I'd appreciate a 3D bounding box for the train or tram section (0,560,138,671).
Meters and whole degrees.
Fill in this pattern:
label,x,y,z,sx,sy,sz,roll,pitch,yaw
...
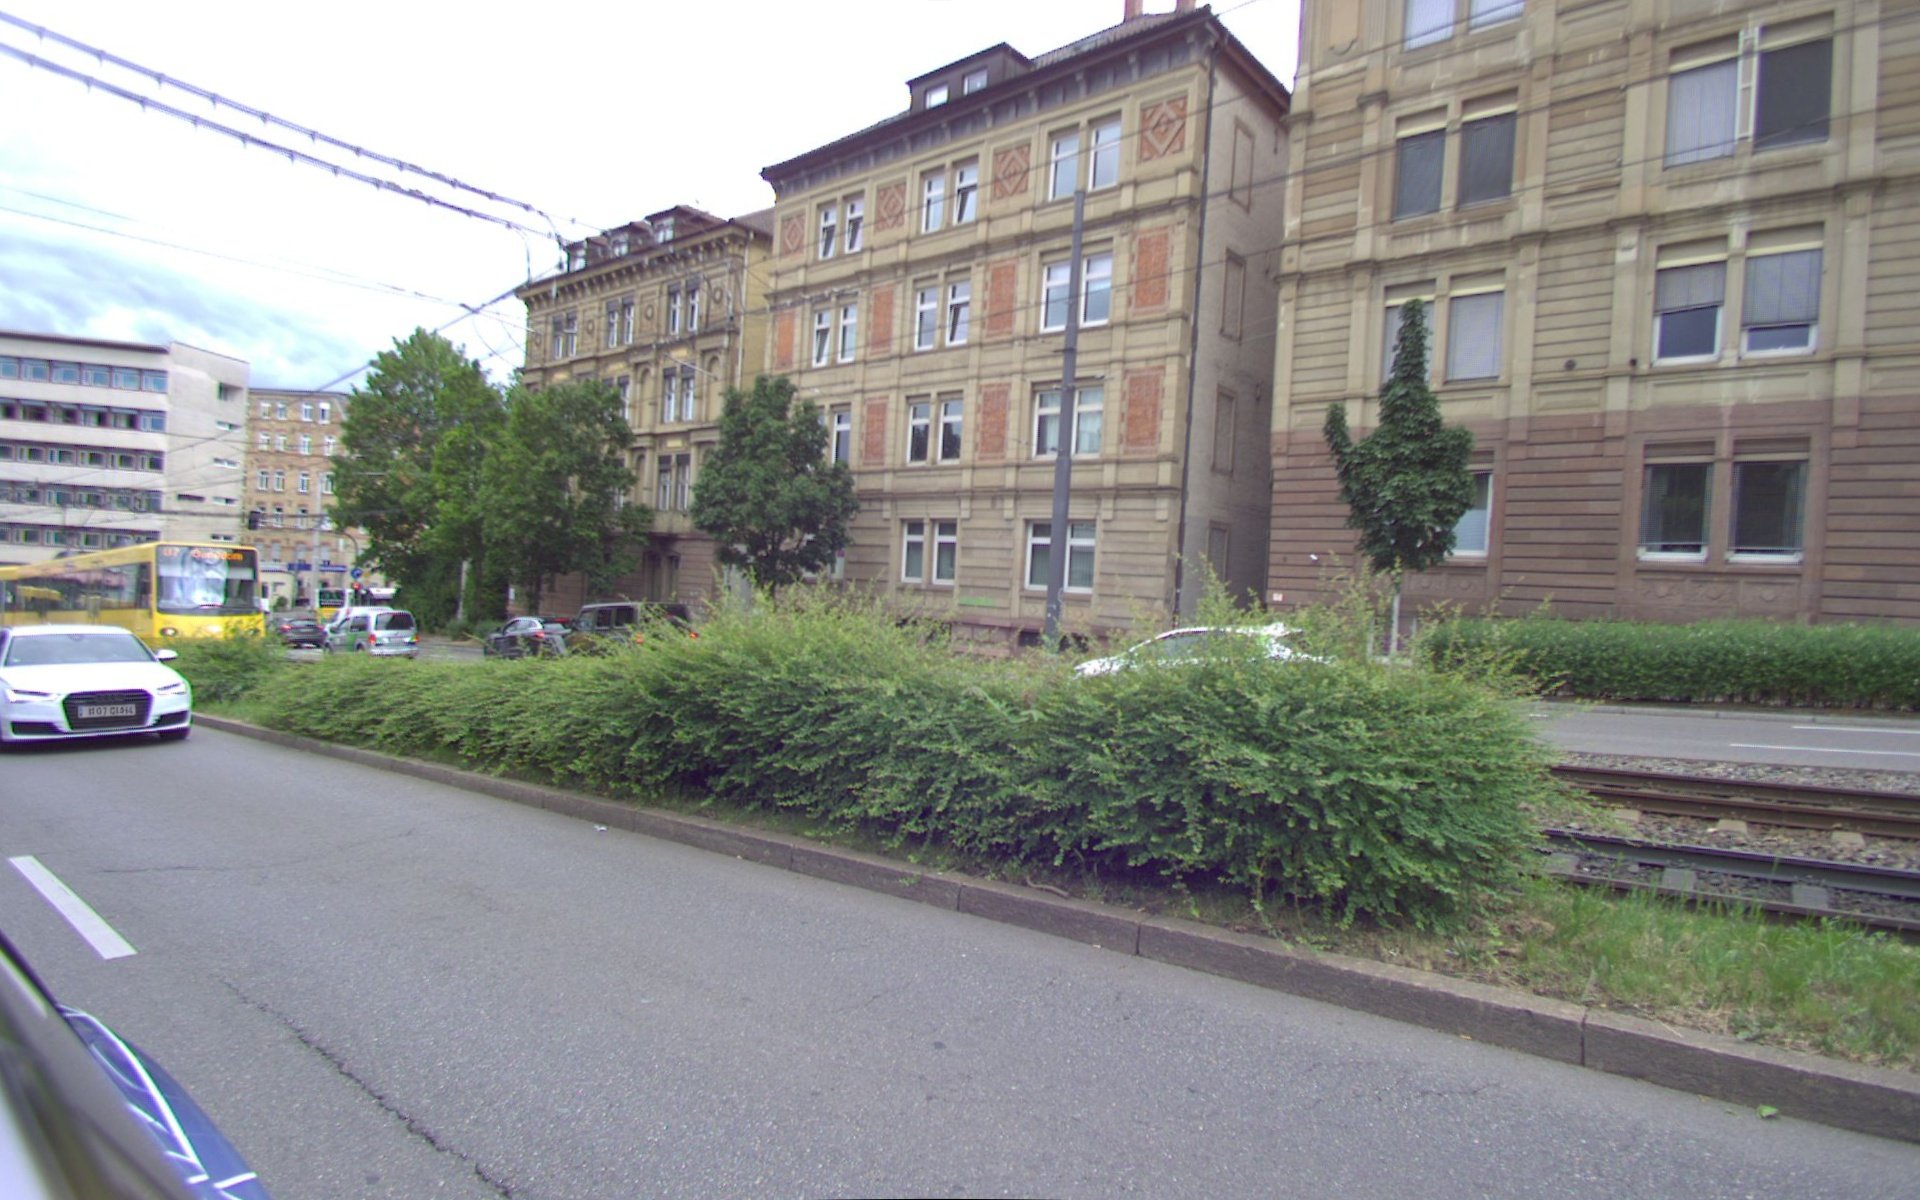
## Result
label,x,y,z,sx,sy,sz,roll,pitch,yaw
train or tram section,-36.178,0.456,38.954,14.187,3.691,2.859,0,1,33

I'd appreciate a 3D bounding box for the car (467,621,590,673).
label,x,y,z,sx,sy,sz,roll,pitch,yaw
car,-14.131,1.469,33.041,4.433,1.566,1.846,-1,-2,39

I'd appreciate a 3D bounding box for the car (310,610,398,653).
label,x,y,z,sx,sy,sz,roll,pitch,yaw
car,-29.491,1.473,49.179,4.985,1.863,1.975,1,1,38

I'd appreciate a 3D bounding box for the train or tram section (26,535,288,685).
label,x,y,z,sx,sy,sz,roll,pitch,yaw
train or tram section,-24.690,0.409,30.575,14.456,3.692,2.854,-1,-3,38

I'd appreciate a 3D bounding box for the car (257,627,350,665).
label,x,y,z,sx,sy,sz,roll,pitch,yaw
car,-26.862,1.855,41.338,4.942,1.461,1.801,-1,-3,40

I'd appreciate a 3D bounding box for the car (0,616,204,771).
label,x,y,z,sx,sy,sz,roll,pitch,yaw
car,-11.420,1.033,12.867,4.527,1.486,1.873,1,2,39

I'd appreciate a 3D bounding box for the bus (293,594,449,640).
label,x,y,z,sx,sy,sz,roll,pitch,yaw
bus,-41.640,1.128,72.287,3.350,3.052,11.522,0,0,7

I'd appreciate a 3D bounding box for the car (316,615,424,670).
label,x,y,z,sx,sy,sz,roll,pitch,yaw
car,-20.745,1.445,35.516,4.512,1.801,1.860,-1,0,40

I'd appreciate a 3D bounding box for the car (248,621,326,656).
label,x,y,z,sx,sy,sz,roll,pitch,yaw
car,-31.324,1.736,47.054,4.399,1.437,1.726,0,1,38

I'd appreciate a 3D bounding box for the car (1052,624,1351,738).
label,x,y,z,sx,sy,sz,roll,pitch,yaw
car,3.566,1.111,15.277,4.059,1.499,1.724,-1,-1,37

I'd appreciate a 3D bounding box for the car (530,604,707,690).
label,x,y,z,sx,sy,sz,roll,pitch,yaw
car,-8.325,1.095,24.494,4.637,1.890,1.881,-1,-2,39

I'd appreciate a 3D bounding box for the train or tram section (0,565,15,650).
label,x,y,z,sx,sy,sz,roll,pitch,yaw
train or tram section,-48.537,0.304,45.838,14.136,3.691,2.869,0,1,23
